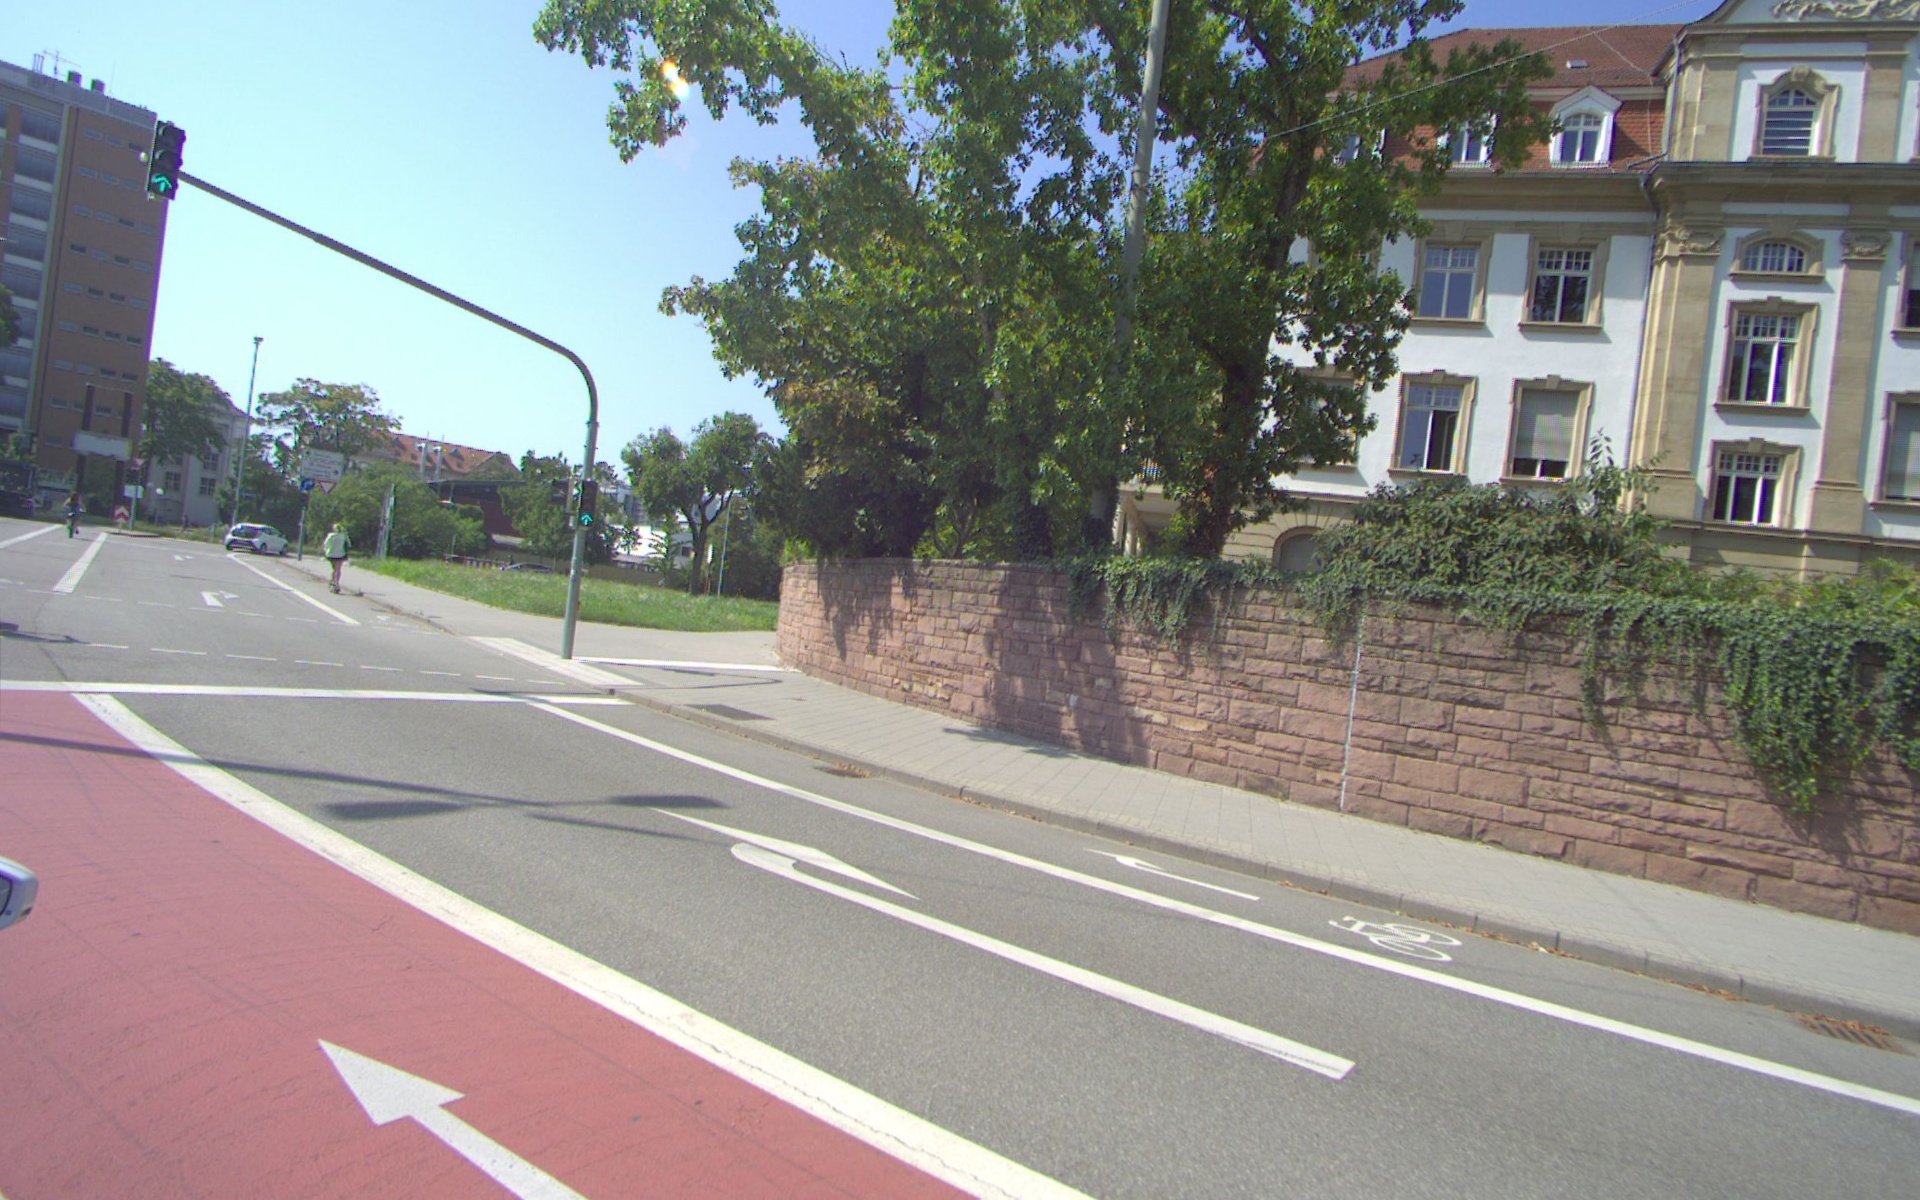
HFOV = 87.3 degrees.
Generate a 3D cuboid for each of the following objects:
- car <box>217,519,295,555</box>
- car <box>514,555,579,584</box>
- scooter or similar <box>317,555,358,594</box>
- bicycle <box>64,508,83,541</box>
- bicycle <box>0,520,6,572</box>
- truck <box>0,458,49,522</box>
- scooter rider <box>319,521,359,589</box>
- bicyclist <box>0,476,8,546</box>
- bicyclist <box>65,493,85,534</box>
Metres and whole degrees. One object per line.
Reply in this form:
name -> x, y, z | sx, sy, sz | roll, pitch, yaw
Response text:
car -> -35.993, -3.195, 51.559 | 1.819, 1.408, 3.990 | 7, -1, -13
car -> -30.455, -2.243, 74.126 | 3.968, 1.584, 1.804 | 8, -1, -38
scooter or similar -> -17.352, -0.720, 28.024 | 0.768, 0.937, 1.604 | 8, -1, -36
bicycle -> -33.031, -2.812, 37.490 | 0.442, 1.130, 1.429 | 6, 0, -41
bicycle -> -10.838, -0.319, 10.874 | 1.787, 1.177, 0.602 | 7, 0, 44
truck -> -52.004, -6.059, 54.545 | 5.877, 3.025, 2.697 | 6, -1, 38
scooter rider -> -17.362, -1.252, 28.118 | 0.758, 1.797, 0.549 | 7, 0, -36
bicyclist -> -10.775, -0.709, 10.849 | 0.651, 1.351, 0.601 | 7, 0, 43
bicyclist -> -33.055, -3.235, 37.566 | 0.448, 1.439, 0.490 | 6, 1, -41
